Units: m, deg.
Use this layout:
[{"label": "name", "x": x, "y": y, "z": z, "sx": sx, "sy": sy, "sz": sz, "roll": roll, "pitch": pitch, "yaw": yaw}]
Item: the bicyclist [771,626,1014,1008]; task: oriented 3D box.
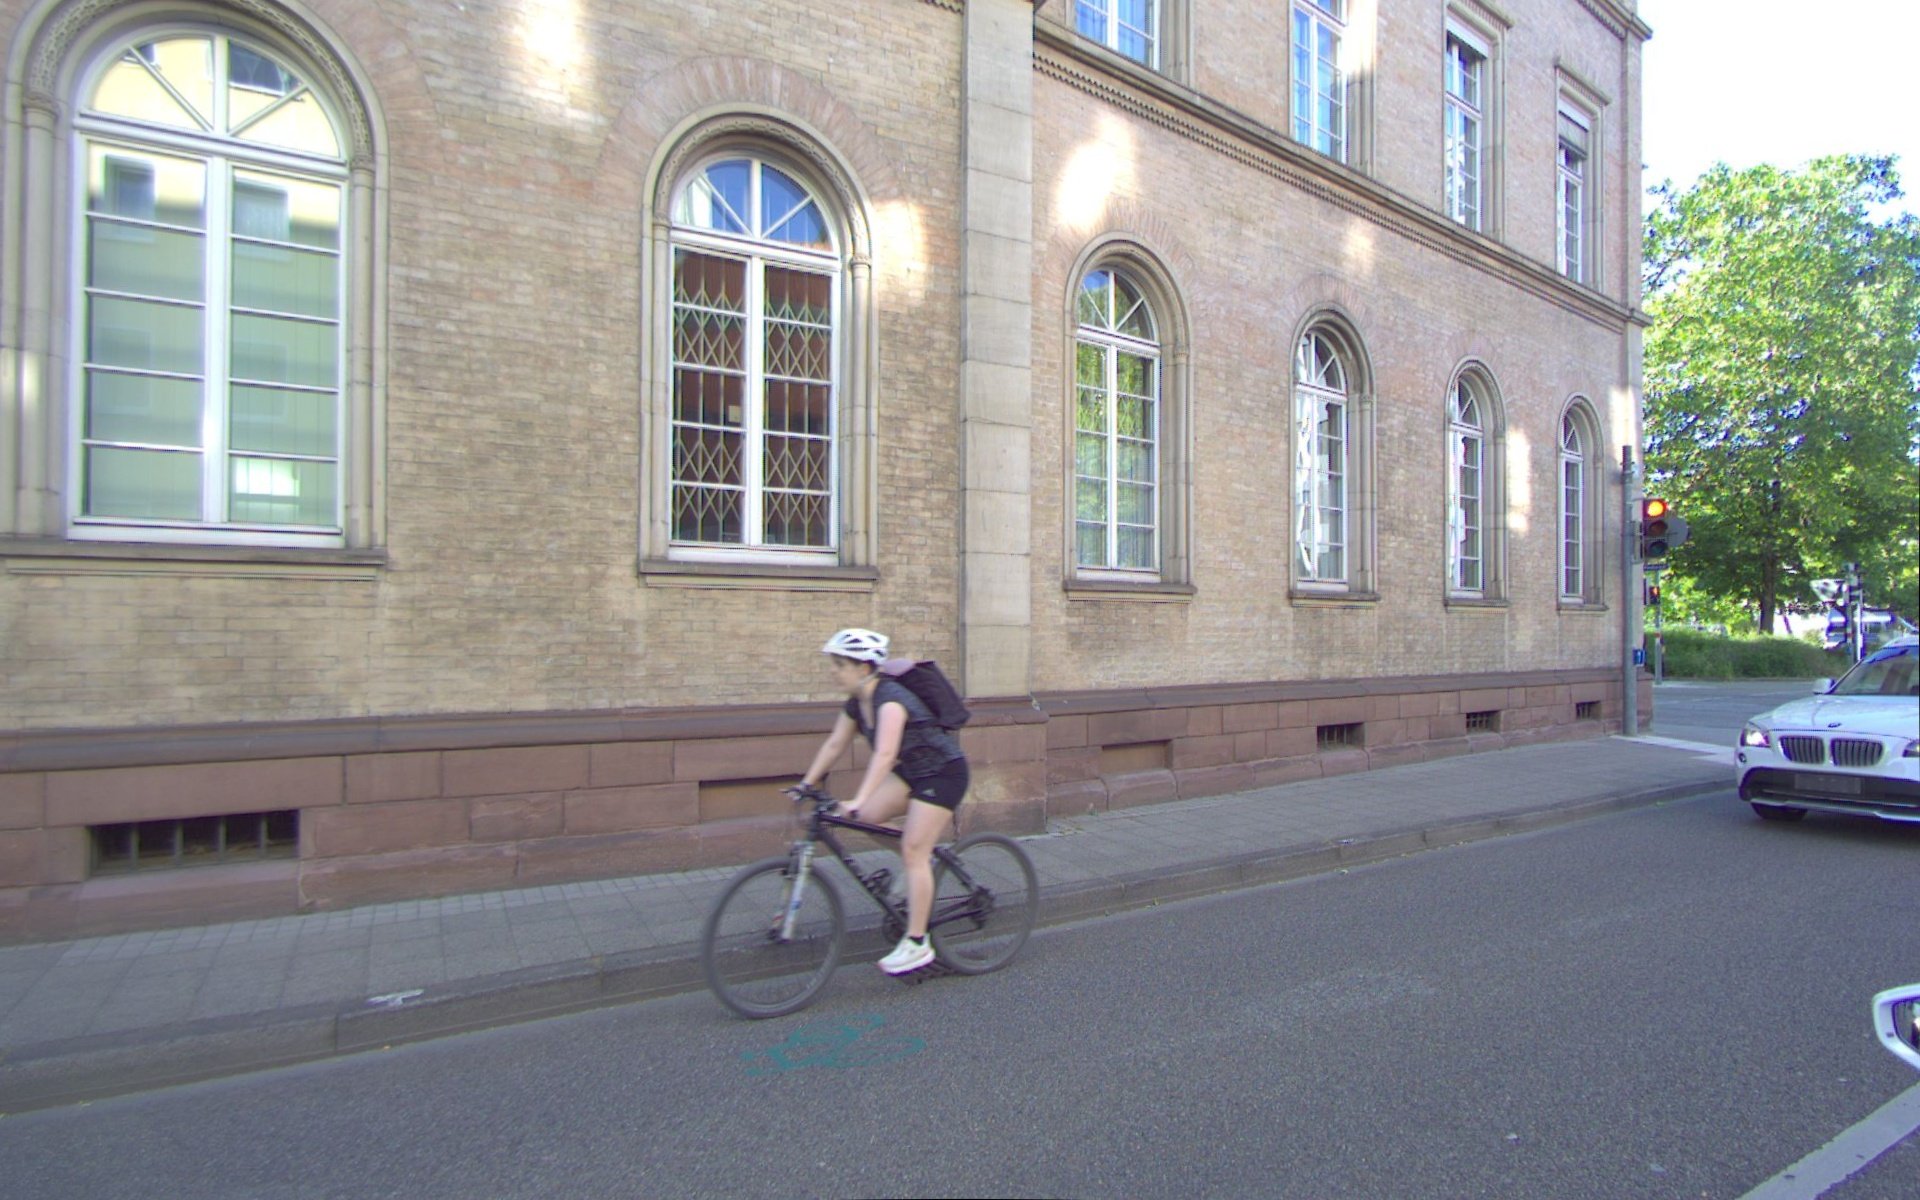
[{"label": "bicyclist", "x": -0.314, "y": 0.878, "z": 4.484, "sx": 0.861, "sy": 1.495, "sz": 0.682, "roll": 1, "pitch": -4, "yaw": -30}]

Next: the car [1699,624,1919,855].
[{"label": "car", "x": 8.423, "y": 1.020, "z": 8.338, "sx": 4.212, "sy": 1.603, "sz": 1.683, "roll": 0, "pitch": -3, "yaw": -22}]

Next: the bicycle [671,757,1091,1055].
[{"label": "bicycle", "x": -0.327, "y": 1.251, "z": 4.477, "sx": 1.746, "sy": 0.936, "sz": 0.682, "roll": 1, "pitch": -4, "yaw": -30}]

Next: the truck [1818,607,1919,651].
[{"label": "truck", "x": 53.744, "y": 1.670, "z": 59.055, "sx": 2.069, "sy": 2.431, "sz": 4.790, "roll": 1, "pitch": -1, "yaw": -39}]

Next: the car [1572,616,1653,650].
[{"label": "car", "x": 47.819, "y": 2.476, "z": 73.708, "sx": 2.056, "sy": 2.423, "sz": 4.521, "roll": 2, "pitch": -3, "yaw": -38}]
